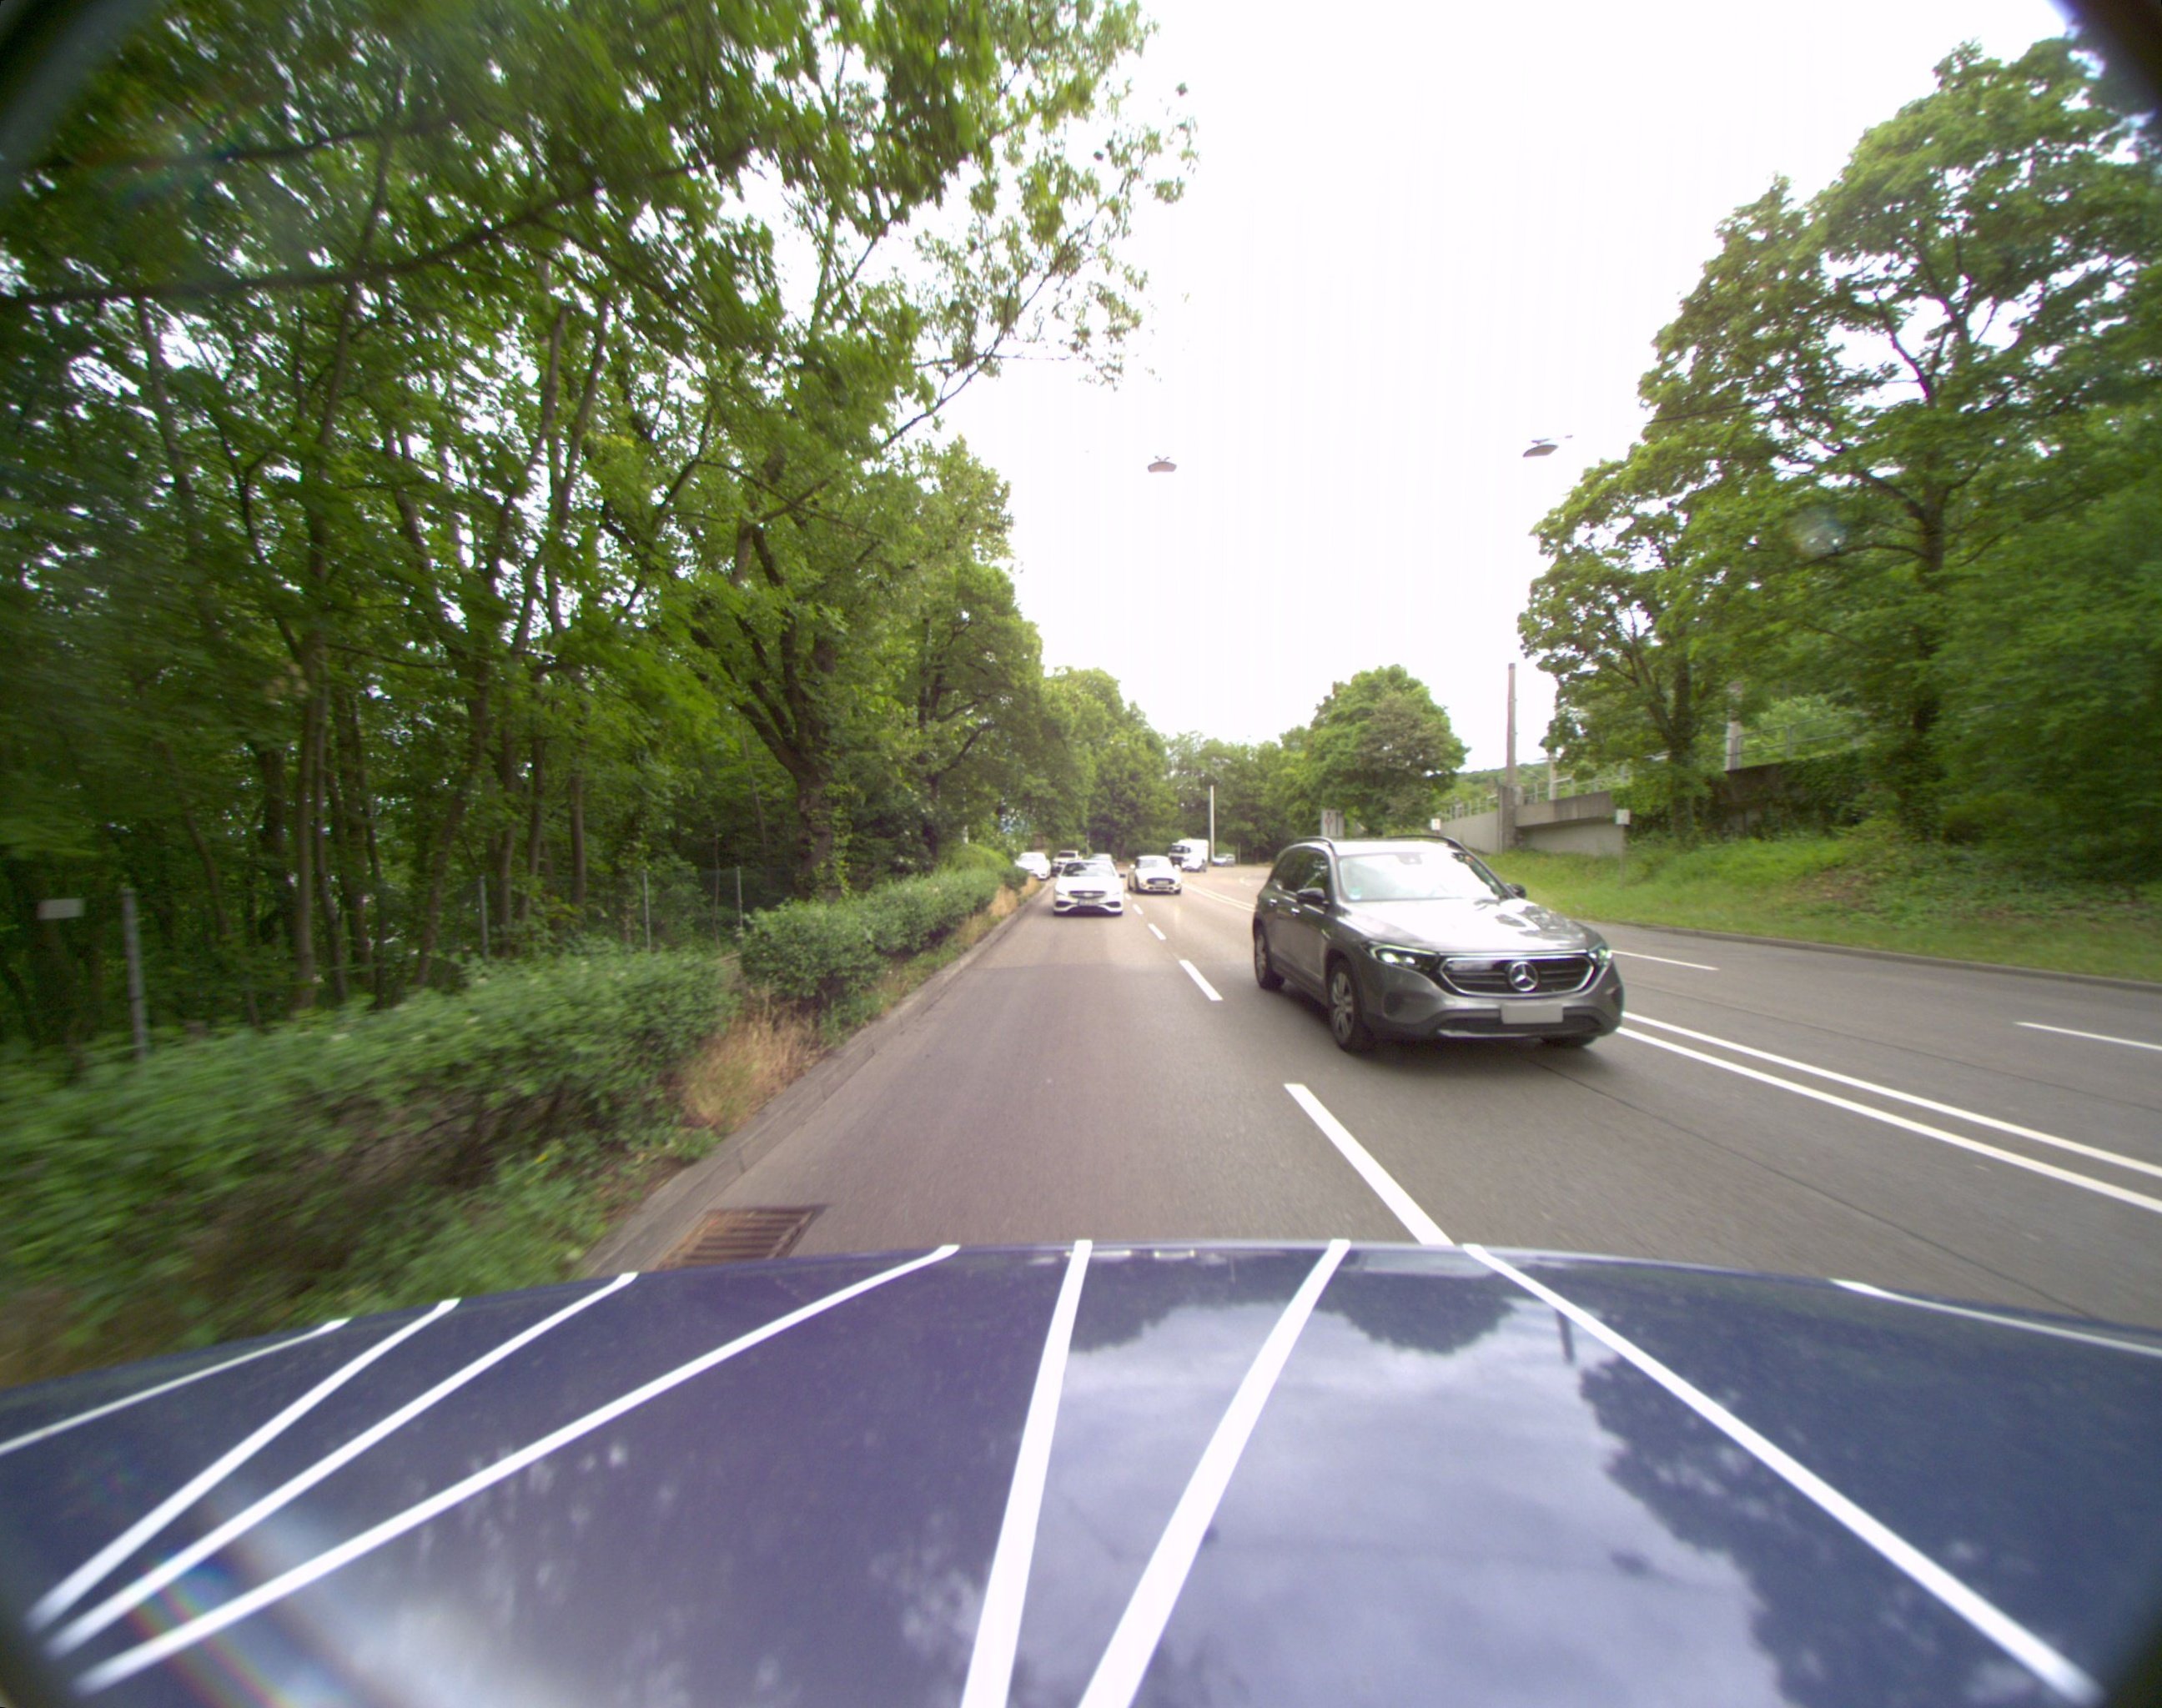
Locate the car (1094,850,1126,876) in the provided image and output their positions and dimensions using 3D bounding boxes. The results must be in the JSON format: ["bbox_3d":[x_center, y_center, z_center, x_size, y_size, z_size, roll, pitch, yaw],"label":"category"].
[{"bbox_3d":[1.803,0.545,46.539,1.755,1.417,4.011,3,1,4],"label":"car"}]

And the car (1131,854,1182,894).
[{"bbox_3d":[2.897,0.753,29.794,1.688,1.415,3.733,-1,0,1],"label":"car"}]

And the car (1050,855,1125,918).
[{"bbox_3d":[0.274,0.807,20.566,1.801,1.470,4.011,-1,0,3],"label":"car"}]

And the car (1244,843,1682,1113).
[{"bbox_3d":[2.827,0.765,6.883,1.854,1.641,4.358,-1,0,2],"label":"car"}]

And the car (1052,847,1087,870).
[{"bbox_3d":[-0.787,0.321,55.824,1.754,1.575,4.014,1,0,11],"label":"car"}]

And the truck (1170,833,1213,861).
[{"bbox_3d":[12.896,-0.808,88.373,2.195,3.137,6.665,2,0,34],"label":"truck"}]

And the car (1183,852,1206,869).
[{"bbox_3d":[10.378,0.586,69.285,1.662,1.382,4.187,3,1,13],"label":"car"}]

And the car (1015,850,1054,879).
[{"bbox_3d":[-2.416,0.544,40.347,1.765,1.433,3.892,1,0,1],"label":"car"}]

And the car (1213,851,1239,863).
[{"bbox_3d":[18.359,0.359,96.082,1.751,1.354,4.019,4,1,35],"label":"car"}]
